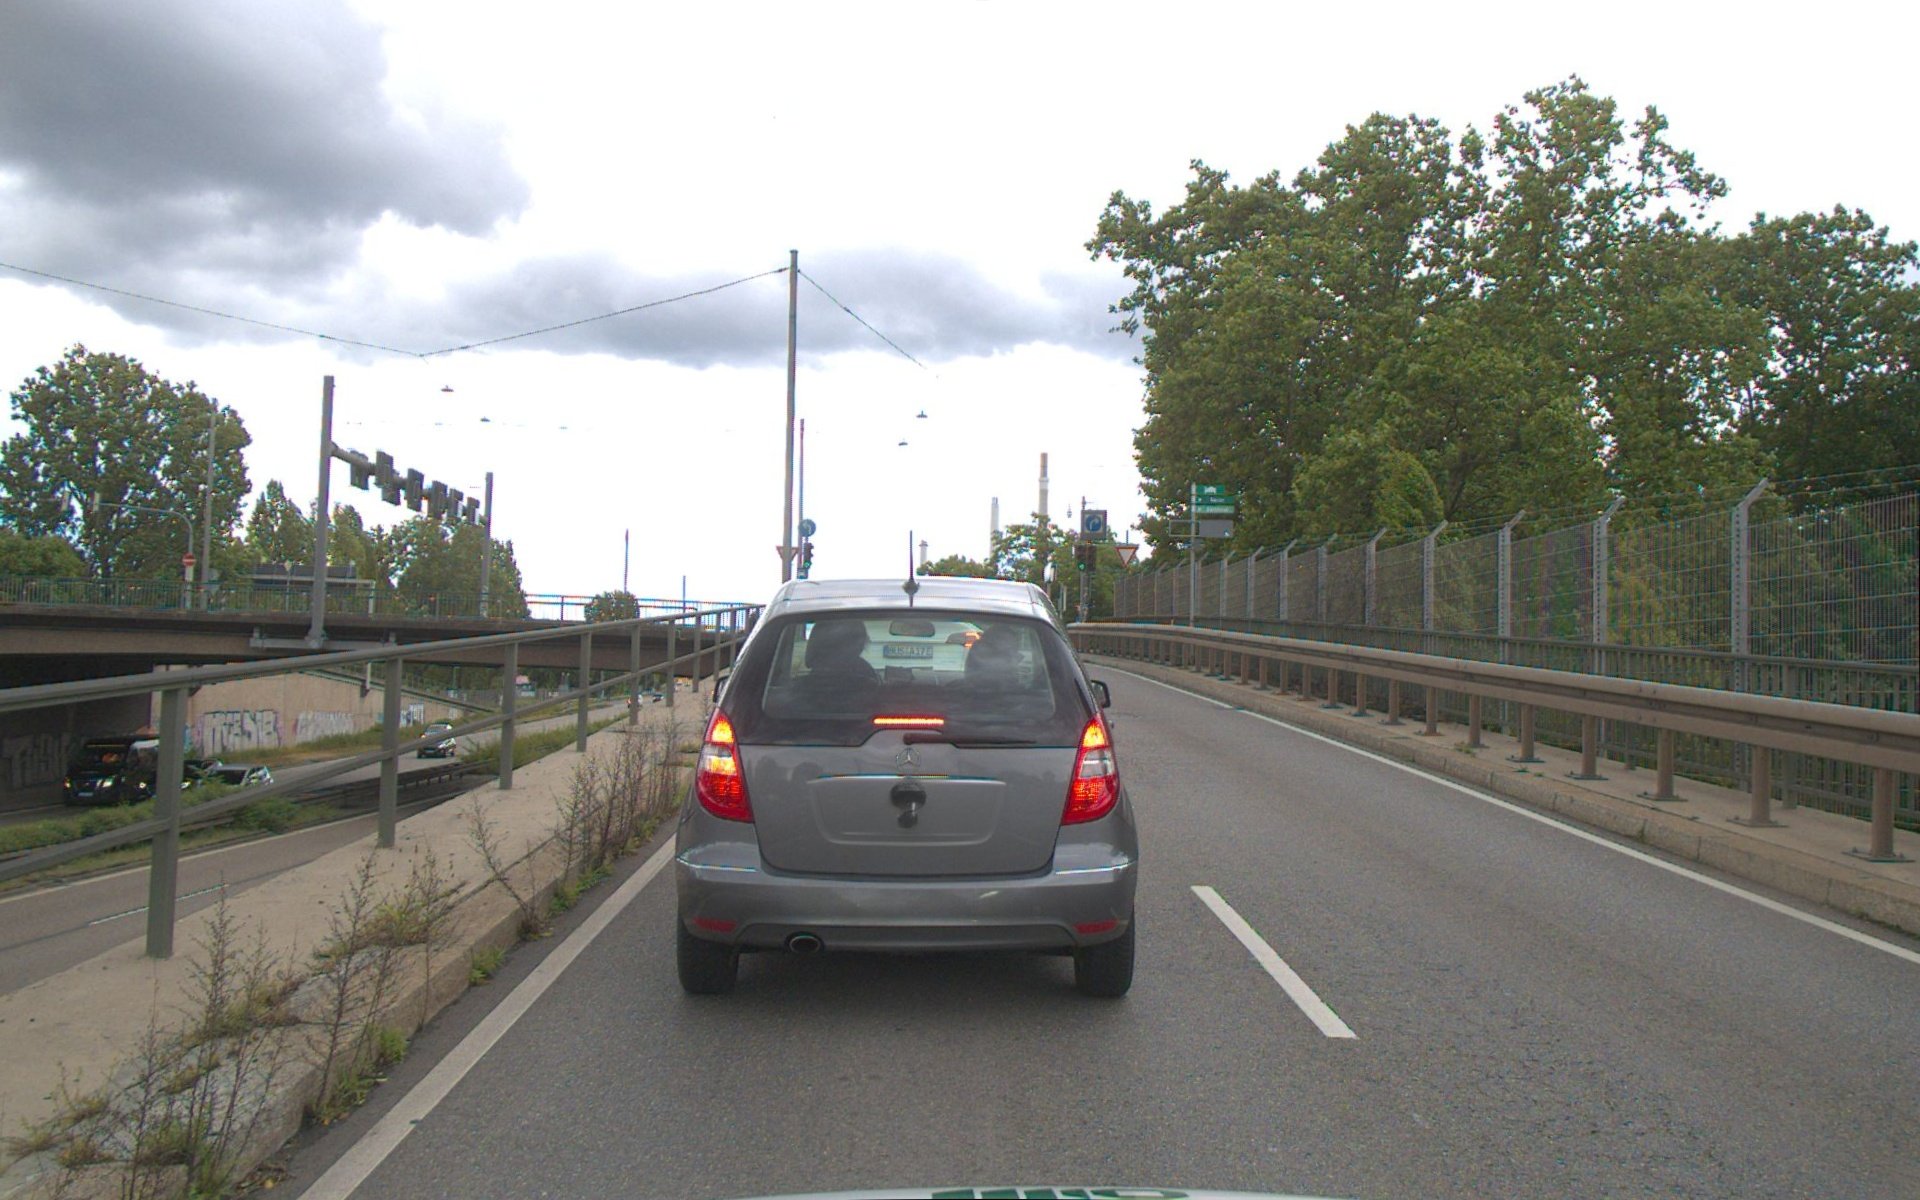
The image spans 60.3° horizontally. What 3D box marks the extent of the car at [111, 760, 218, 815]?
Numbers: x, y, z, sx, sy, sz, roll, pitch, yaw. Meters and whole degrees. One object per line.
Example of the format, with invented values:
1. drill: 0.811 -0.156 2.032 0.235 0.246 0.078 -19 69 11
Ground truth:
1. car: -28.554 6.717 59.513 1.953 1.691 3.997 1 -4 -2

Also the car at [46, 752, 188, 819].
1. car: -31.589 6.918 62.254 2.244 2.193 6.180 0 -4 -1

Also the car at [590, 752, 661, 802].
1. car: -12.636 6.681 62.609 1.816 1.526 4.000 0 -1 1

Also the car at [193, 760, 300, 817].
1. car: -24.354 6.435 56.633 1.953 1.691 3.997 1 -4 -2

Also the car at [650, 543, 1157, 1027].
1. car: -0.002 0.715 7.636 1.713 1.609 4.086 0 -3 5

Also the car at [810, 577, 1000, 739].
1. car: -0.600 0.570 18.959 1.953 1.631 3.999 0 1 -1
